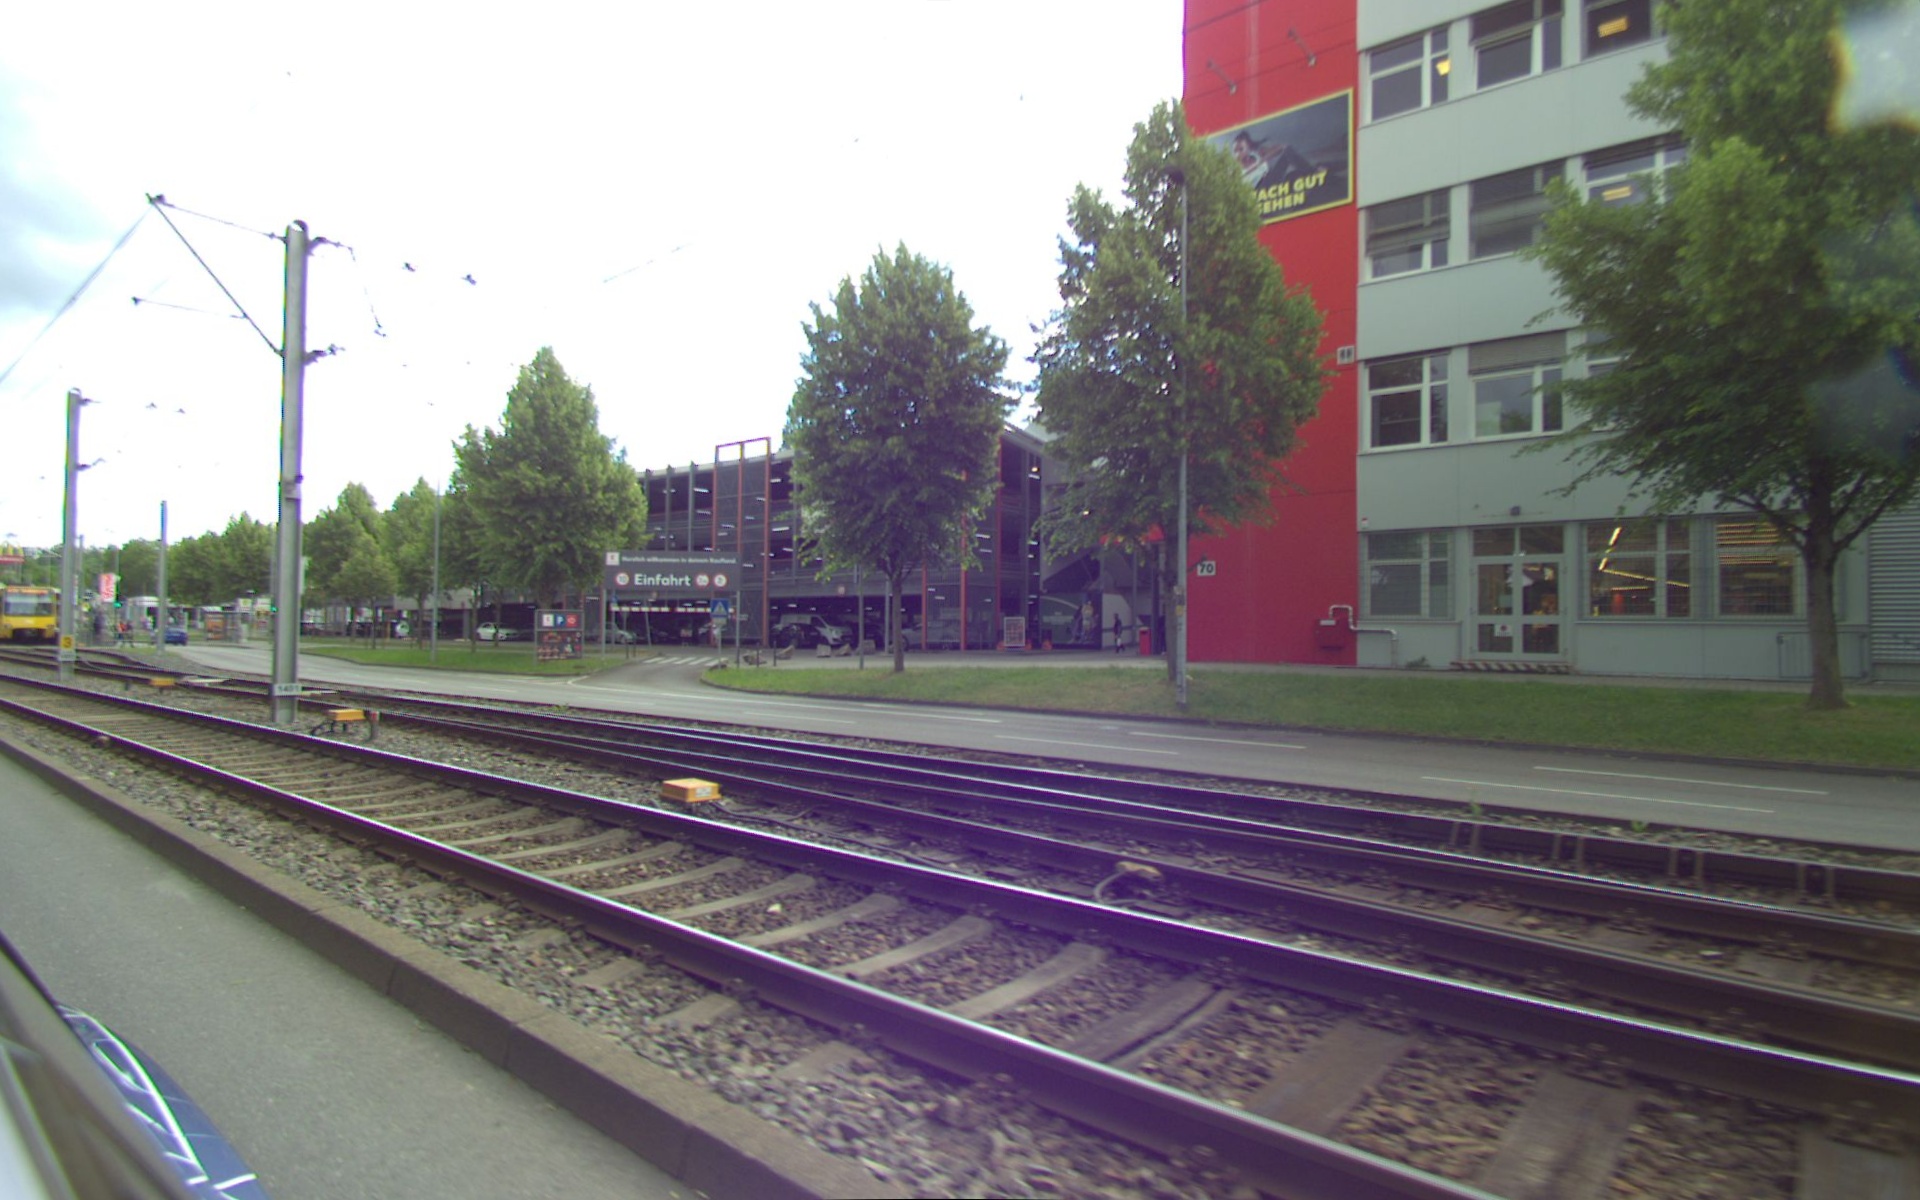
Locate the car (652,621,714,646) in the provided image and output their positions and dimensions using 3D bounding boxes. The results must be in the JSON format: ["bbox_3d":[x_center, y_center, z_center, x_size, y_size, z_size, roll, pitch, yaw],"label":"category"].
[{"bbox_3d":[-19.521,2.347,71.271,4.400,1.712,1.974,-1,-2,39],"label":"car"}]

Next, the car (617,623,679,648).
[{"bbox_3d":[-21.302,2.425,69.067,4.400,1.640,1.974,-1,-2,39],"label":"car"}]

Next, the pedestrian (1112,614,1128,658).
[{"bbox_3d":[7.030,1.571,44.442,0.648,1.941,0.582,0,-2,9],"label":"pedestrian"}]

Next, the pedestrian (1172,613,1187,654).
[{"bbox_3d":[10.348,1.592,47.803,0.648,1.941,0.582,0,-2,9],"label":"pedestrian"}]

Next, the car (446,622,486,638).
[{"bbox_3d":[-50.324,3.063,103.135,4.400,1.640,1.974,-1,-2,39],"label":"car"}]

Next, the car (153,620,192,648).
[{"bbox_3d":[-58.008,2.471,74.531,1.969,2.029,4.005,1,-2,-42],"label":"car"}]

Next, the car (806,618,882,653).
[{"bbox_3d":[-6.946,2.081,60.436,4.400,2.029,1.974,-1,-2,39],"label":"car"}]

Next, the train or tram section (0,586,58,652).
[{"bbox_3d":[-60.306,1.245,64.160,13.777,3.804,2.742,-1,-2,40],"label":"train or tram section"}]

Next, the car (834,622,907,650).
[{"bbox_3d":[-5.535,2.191,62.598,4.400,1.662,1.974,-1,-2,39],"label":"car"}]

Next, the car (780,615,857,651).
[{"bbox_3d":[-8.215,1.895,58.770,4.400,2.029,1.974,-1,-2,39],"label":"car"}]

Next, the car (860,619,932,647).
[{"bbox_3d":[-4.100,2.078,64.318,4.400,1.731,1.974,-1,-2,39],"label":"car"}]

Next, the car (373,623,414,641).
[{"bbox_3d":[-54.551,3.067,97.449,4.400,1.640,1.974,-1,-2,39],"label":"car"}]

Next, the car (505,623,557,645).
[{"bbox_3d":[-33.867,2.640,79.828,4.400,1.712,1.974,-1,-2,39],"label":"car"}]
